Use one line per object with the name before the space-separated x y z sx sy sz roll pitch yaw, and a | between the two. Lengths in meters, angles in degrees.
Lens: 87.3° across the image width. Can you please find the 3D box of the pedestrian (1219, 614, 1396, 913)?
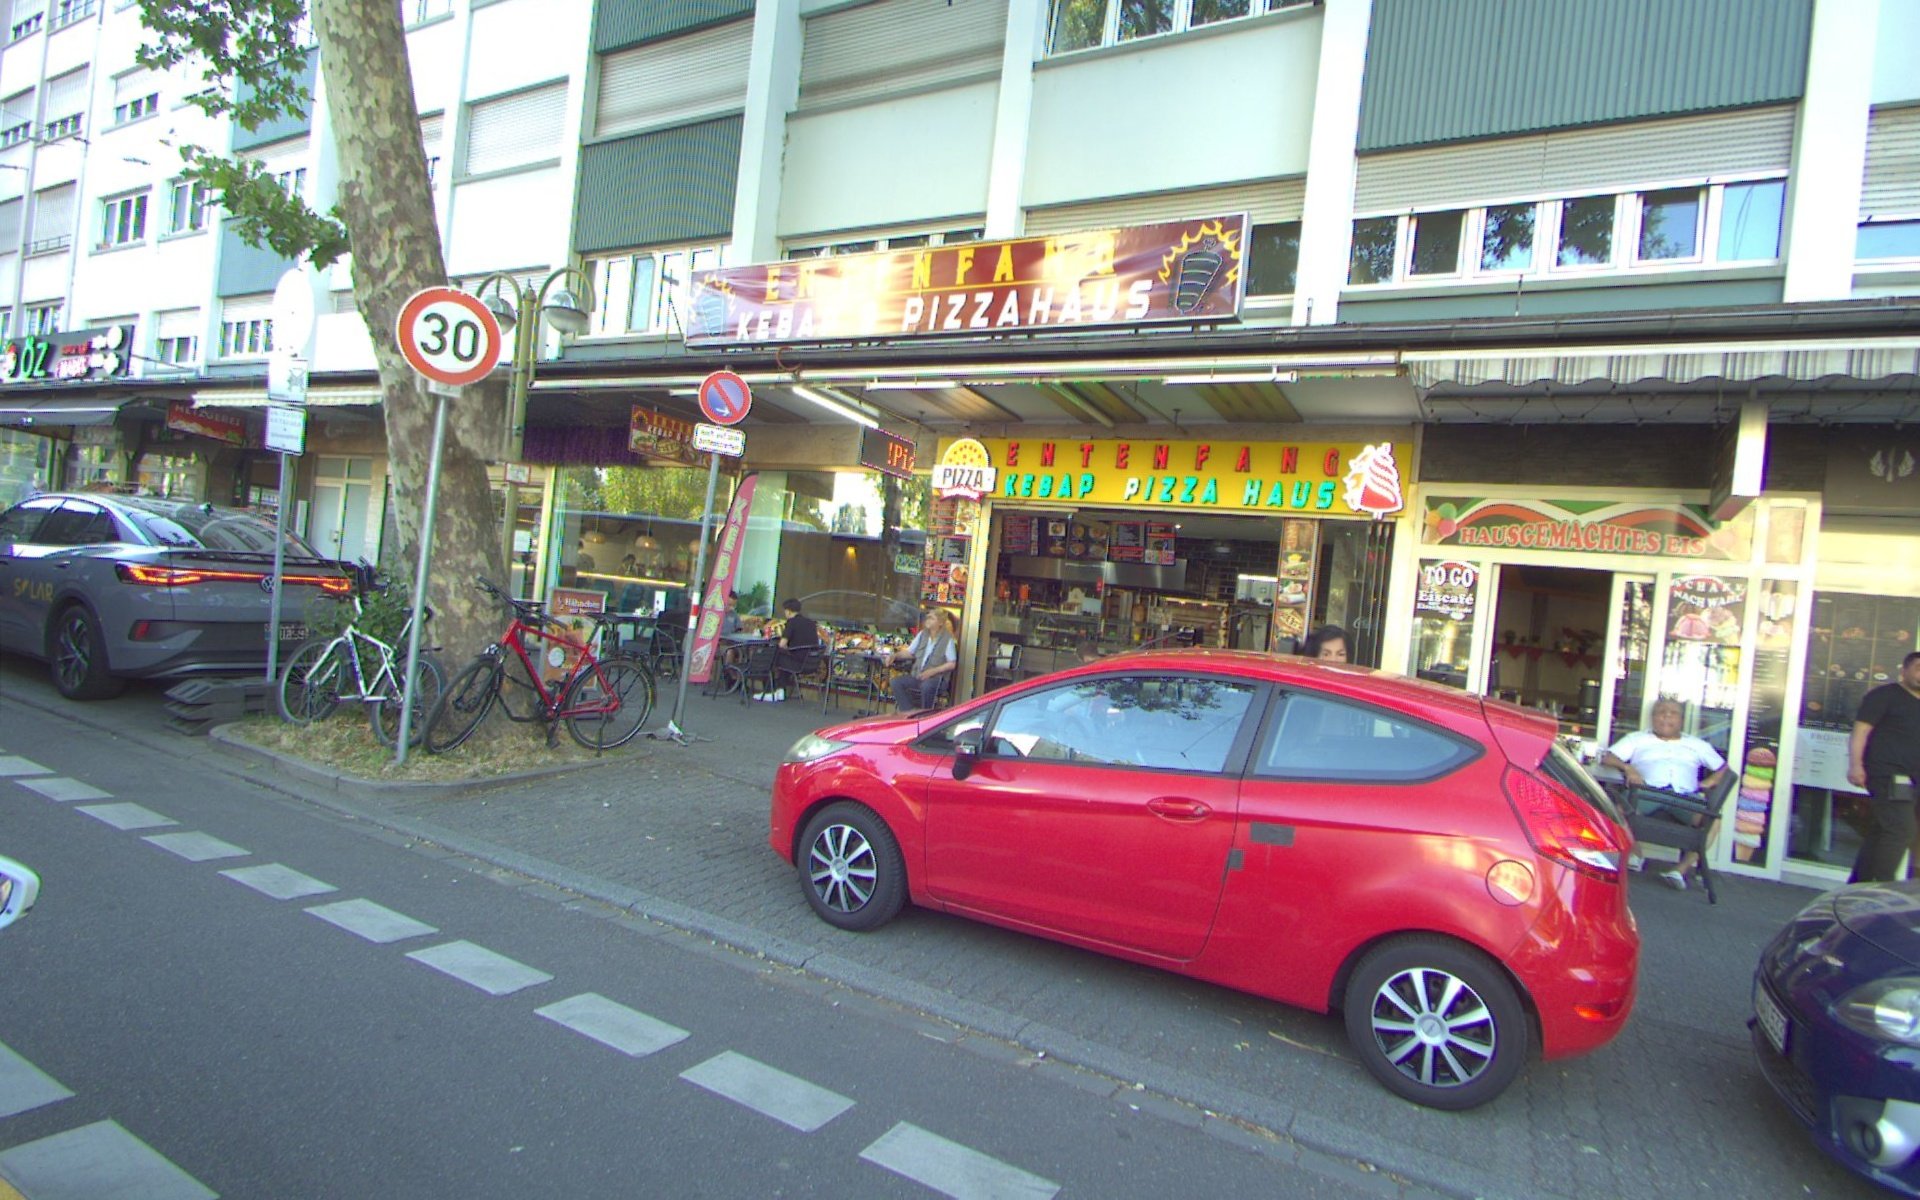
pedestrian | 2.174 0.973 6.283 0.783 1.667 0.583 6 1 30

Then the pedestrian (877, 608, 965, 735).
pedestrian | -0.410 0.748 10.725 0.550 1.252 0.689 7 2 29

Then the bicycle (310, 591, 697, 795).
bicycle | -3.025 0.559 6.932 0.547 1.171 2.377 7 4 44

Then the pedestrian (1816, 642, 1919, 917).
pedestrian | 6.414 1.213 6.948 0.547 1.802 0.395 6 2 29

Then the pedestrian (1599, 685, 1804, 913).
pedestrian | 5.242 1.346 7.209 0.937 1.352 1.069 7 0 30

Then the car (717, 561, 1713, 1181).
car | 0.950 0.817 4.731 3.757 1.617 1.782 6 3 28

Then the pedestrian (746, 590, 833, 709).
pedestrian | -1.956 0.559 11.538 0.679 1.261 0.558 7 2 33

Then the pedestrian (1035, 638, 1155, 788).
pedestrian | 1.248 1.005 9.238 0.798 1.225 0.654 7 2 28

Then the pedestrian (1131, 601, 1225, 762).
pedestrian | 2.297 0.846 10.558 0.589 1.566 0.700 7 0 34

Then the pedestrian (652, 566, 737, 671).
pedestrian | -3.766 0.255 14.356 0.958 1.350 0.830 6 0 -9

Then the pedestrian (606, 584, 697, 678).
pedestrian | -3.992 0.399 13.071 0.940 1.094 0.639 7 0 -9

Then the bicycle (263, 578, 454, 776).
bicycle | -4.247 0.506 7.071 1.421 1.169 0.553 6 0 36

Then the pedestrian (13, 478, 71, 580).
pedestrian | -16.122 -1.239 17.678 0.661 1.688 0.593 4 2 -42

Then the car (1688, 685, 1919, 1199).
car | 4.356 1.260 2.705 3.549 1.488 1.767 6 3 29

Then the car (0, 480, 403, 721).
car | -7.373 -0.126 9.069 4.292 1.603 1.996 7 2 27

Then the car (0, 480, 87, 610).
car | -14.041 -0.920 13.515 4.292 1.603 1.996 7 2 27

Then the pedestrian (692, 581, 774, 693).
pedestrian | -2.748 0.446 12.152 0.680 1.261 0.557 7 2 38
